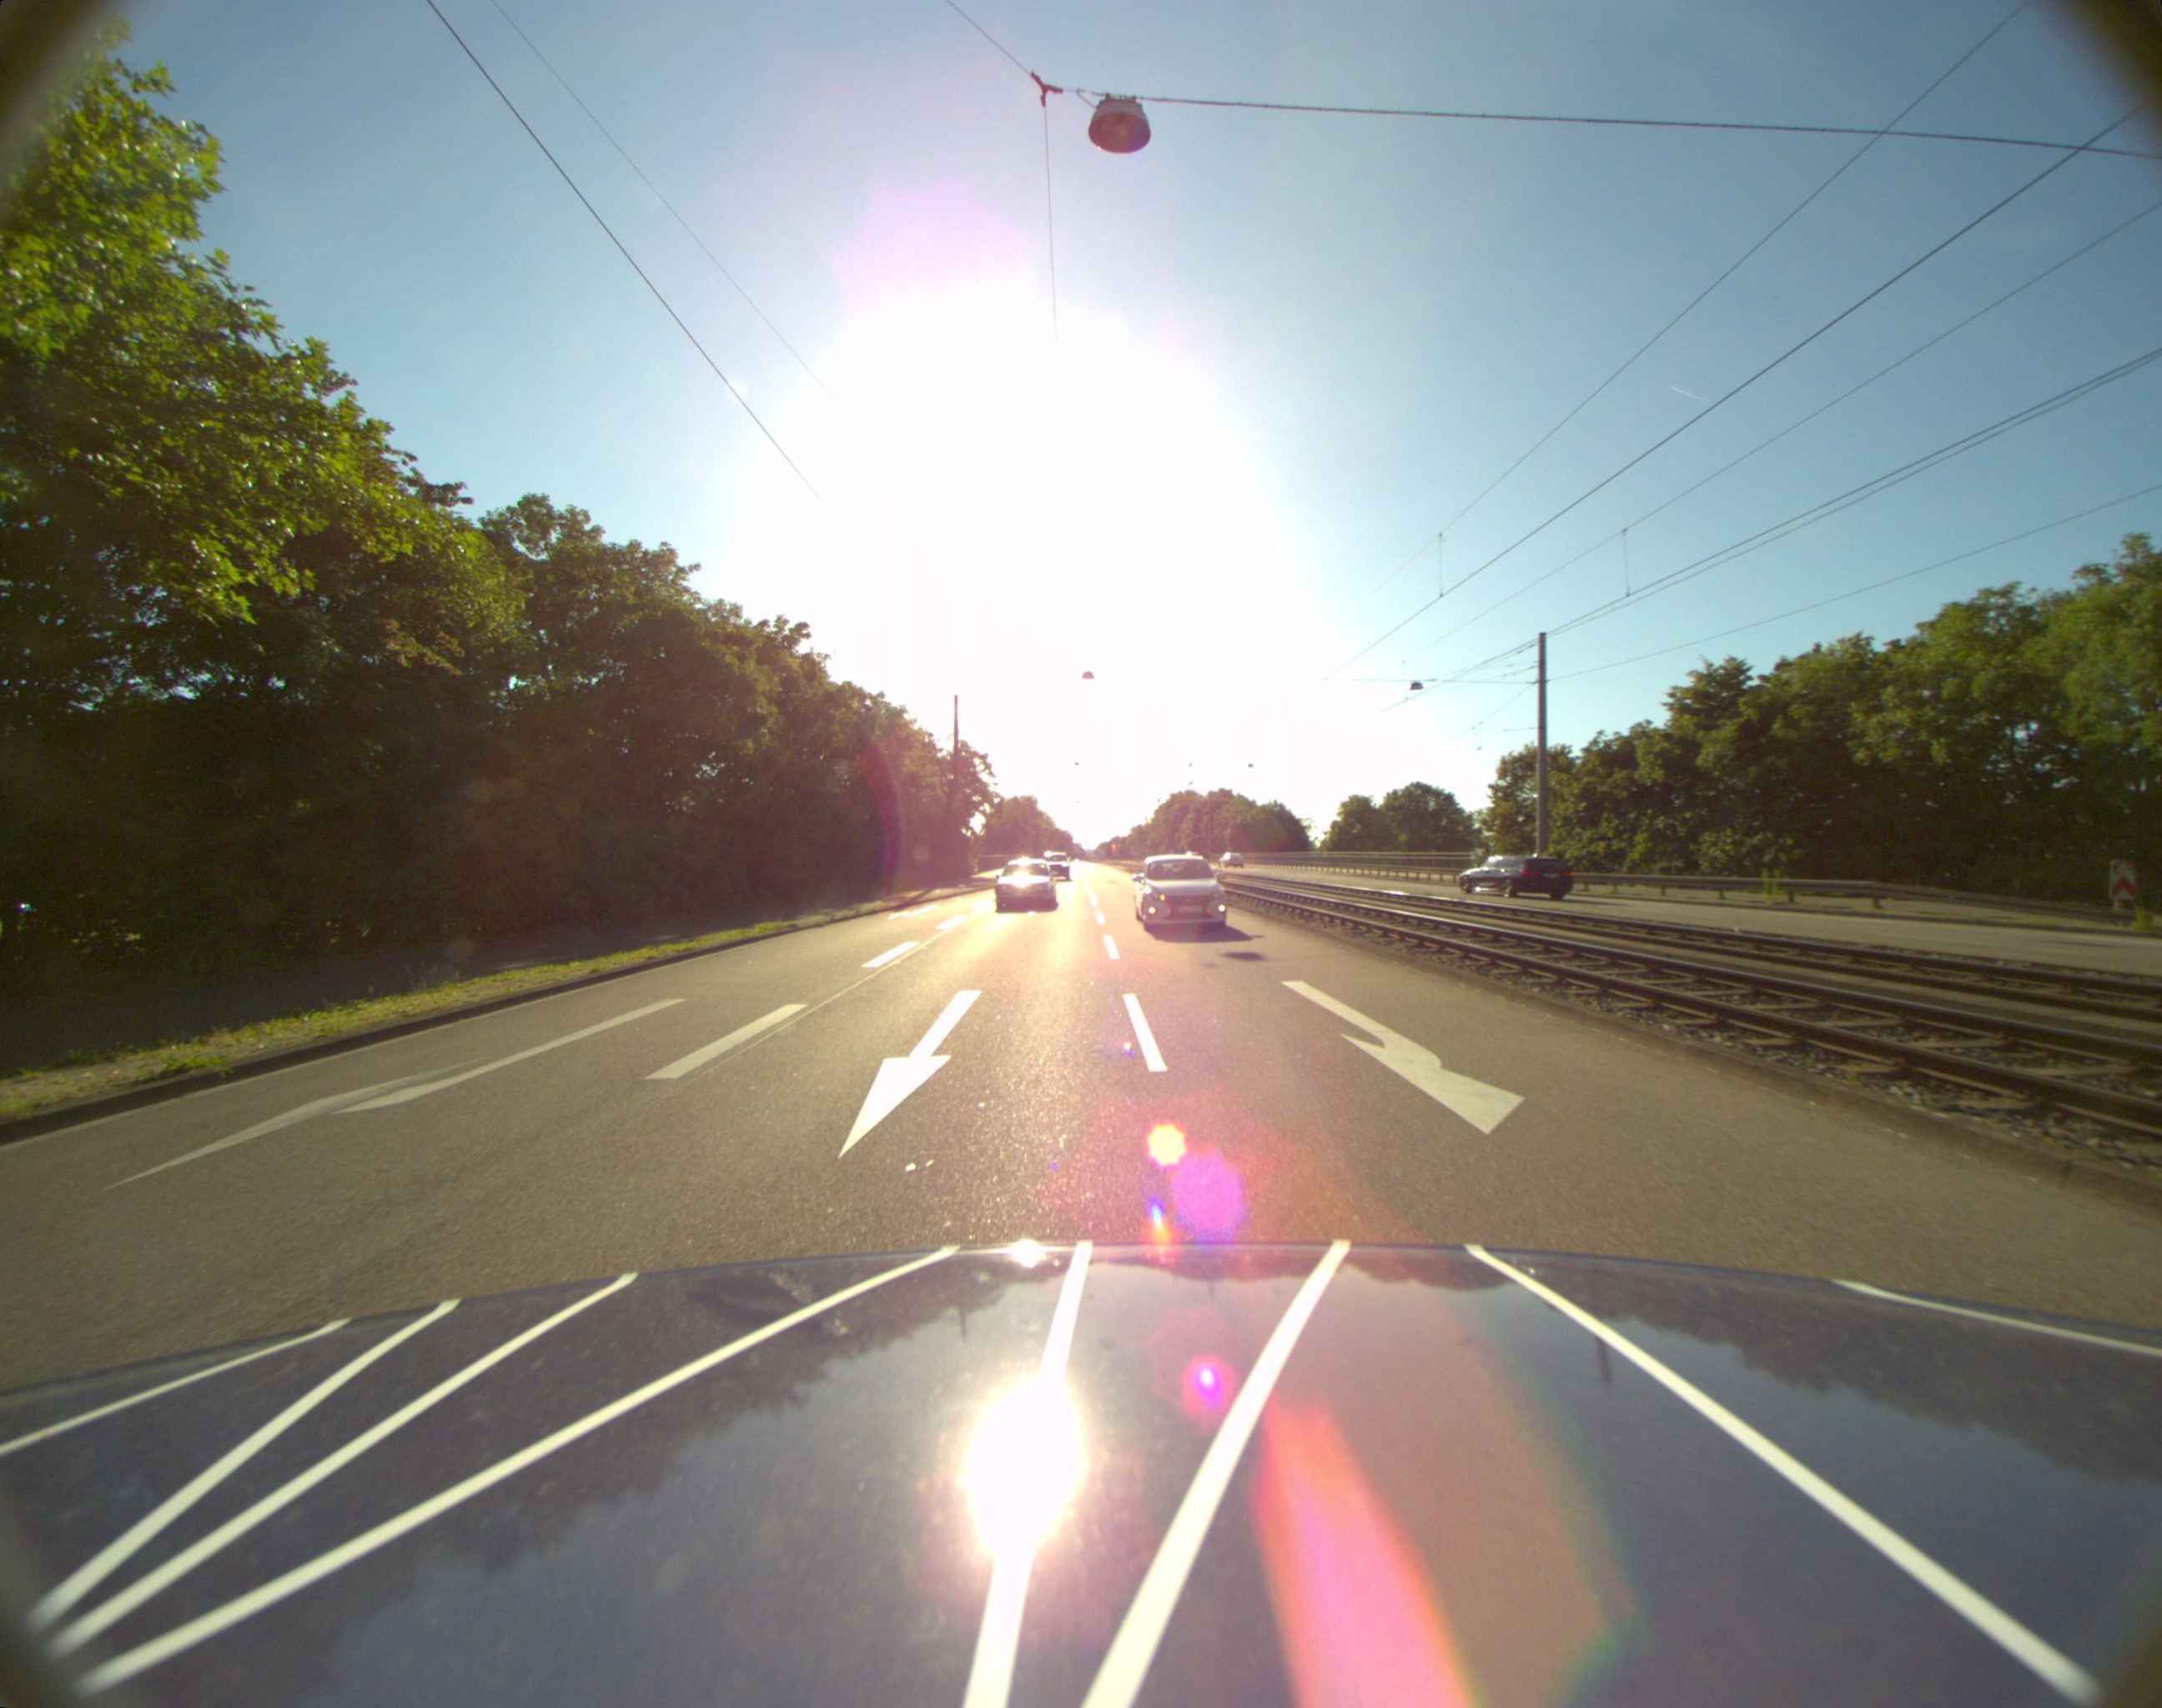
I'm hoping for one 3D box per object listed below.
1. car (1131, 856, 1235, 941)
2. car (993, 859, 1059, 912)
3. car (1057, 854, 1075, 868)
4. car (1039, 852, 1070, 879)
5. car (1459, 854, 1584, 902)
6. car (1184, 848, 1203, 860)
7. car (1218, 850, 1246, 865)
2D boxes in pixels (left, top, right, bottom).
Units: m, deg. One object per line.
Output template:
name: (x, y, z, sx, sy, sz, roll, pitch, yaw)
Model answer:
car: (2.052, 0.844, 16.262, 1.709, 1.503, 3.862, -2, 1, 0)
car: (-1.652, 0.918, 23.957, 1.693, 1.409, 4.134, -2, 1, 0)
car: (-1.762, 0.823, 89.662, 1.904, 1.512, 3.956, -2, 1, 0)
car: (-1.571, 0.666, 46.377, 1.709, 1.512, 3.844, -2, 1, 0)
car: (14.905, 0.760, 26.021, 1.661, 1.424, 4.501, 1, 1, 0)
car: (14.929, -0.020, 101.152, 1.713, 1.571, 4.800, 0, 1, -1)
car: (15.091, 0.353, 76.190, 1.759, 1.406, 4.876, 2, 1, -2)
